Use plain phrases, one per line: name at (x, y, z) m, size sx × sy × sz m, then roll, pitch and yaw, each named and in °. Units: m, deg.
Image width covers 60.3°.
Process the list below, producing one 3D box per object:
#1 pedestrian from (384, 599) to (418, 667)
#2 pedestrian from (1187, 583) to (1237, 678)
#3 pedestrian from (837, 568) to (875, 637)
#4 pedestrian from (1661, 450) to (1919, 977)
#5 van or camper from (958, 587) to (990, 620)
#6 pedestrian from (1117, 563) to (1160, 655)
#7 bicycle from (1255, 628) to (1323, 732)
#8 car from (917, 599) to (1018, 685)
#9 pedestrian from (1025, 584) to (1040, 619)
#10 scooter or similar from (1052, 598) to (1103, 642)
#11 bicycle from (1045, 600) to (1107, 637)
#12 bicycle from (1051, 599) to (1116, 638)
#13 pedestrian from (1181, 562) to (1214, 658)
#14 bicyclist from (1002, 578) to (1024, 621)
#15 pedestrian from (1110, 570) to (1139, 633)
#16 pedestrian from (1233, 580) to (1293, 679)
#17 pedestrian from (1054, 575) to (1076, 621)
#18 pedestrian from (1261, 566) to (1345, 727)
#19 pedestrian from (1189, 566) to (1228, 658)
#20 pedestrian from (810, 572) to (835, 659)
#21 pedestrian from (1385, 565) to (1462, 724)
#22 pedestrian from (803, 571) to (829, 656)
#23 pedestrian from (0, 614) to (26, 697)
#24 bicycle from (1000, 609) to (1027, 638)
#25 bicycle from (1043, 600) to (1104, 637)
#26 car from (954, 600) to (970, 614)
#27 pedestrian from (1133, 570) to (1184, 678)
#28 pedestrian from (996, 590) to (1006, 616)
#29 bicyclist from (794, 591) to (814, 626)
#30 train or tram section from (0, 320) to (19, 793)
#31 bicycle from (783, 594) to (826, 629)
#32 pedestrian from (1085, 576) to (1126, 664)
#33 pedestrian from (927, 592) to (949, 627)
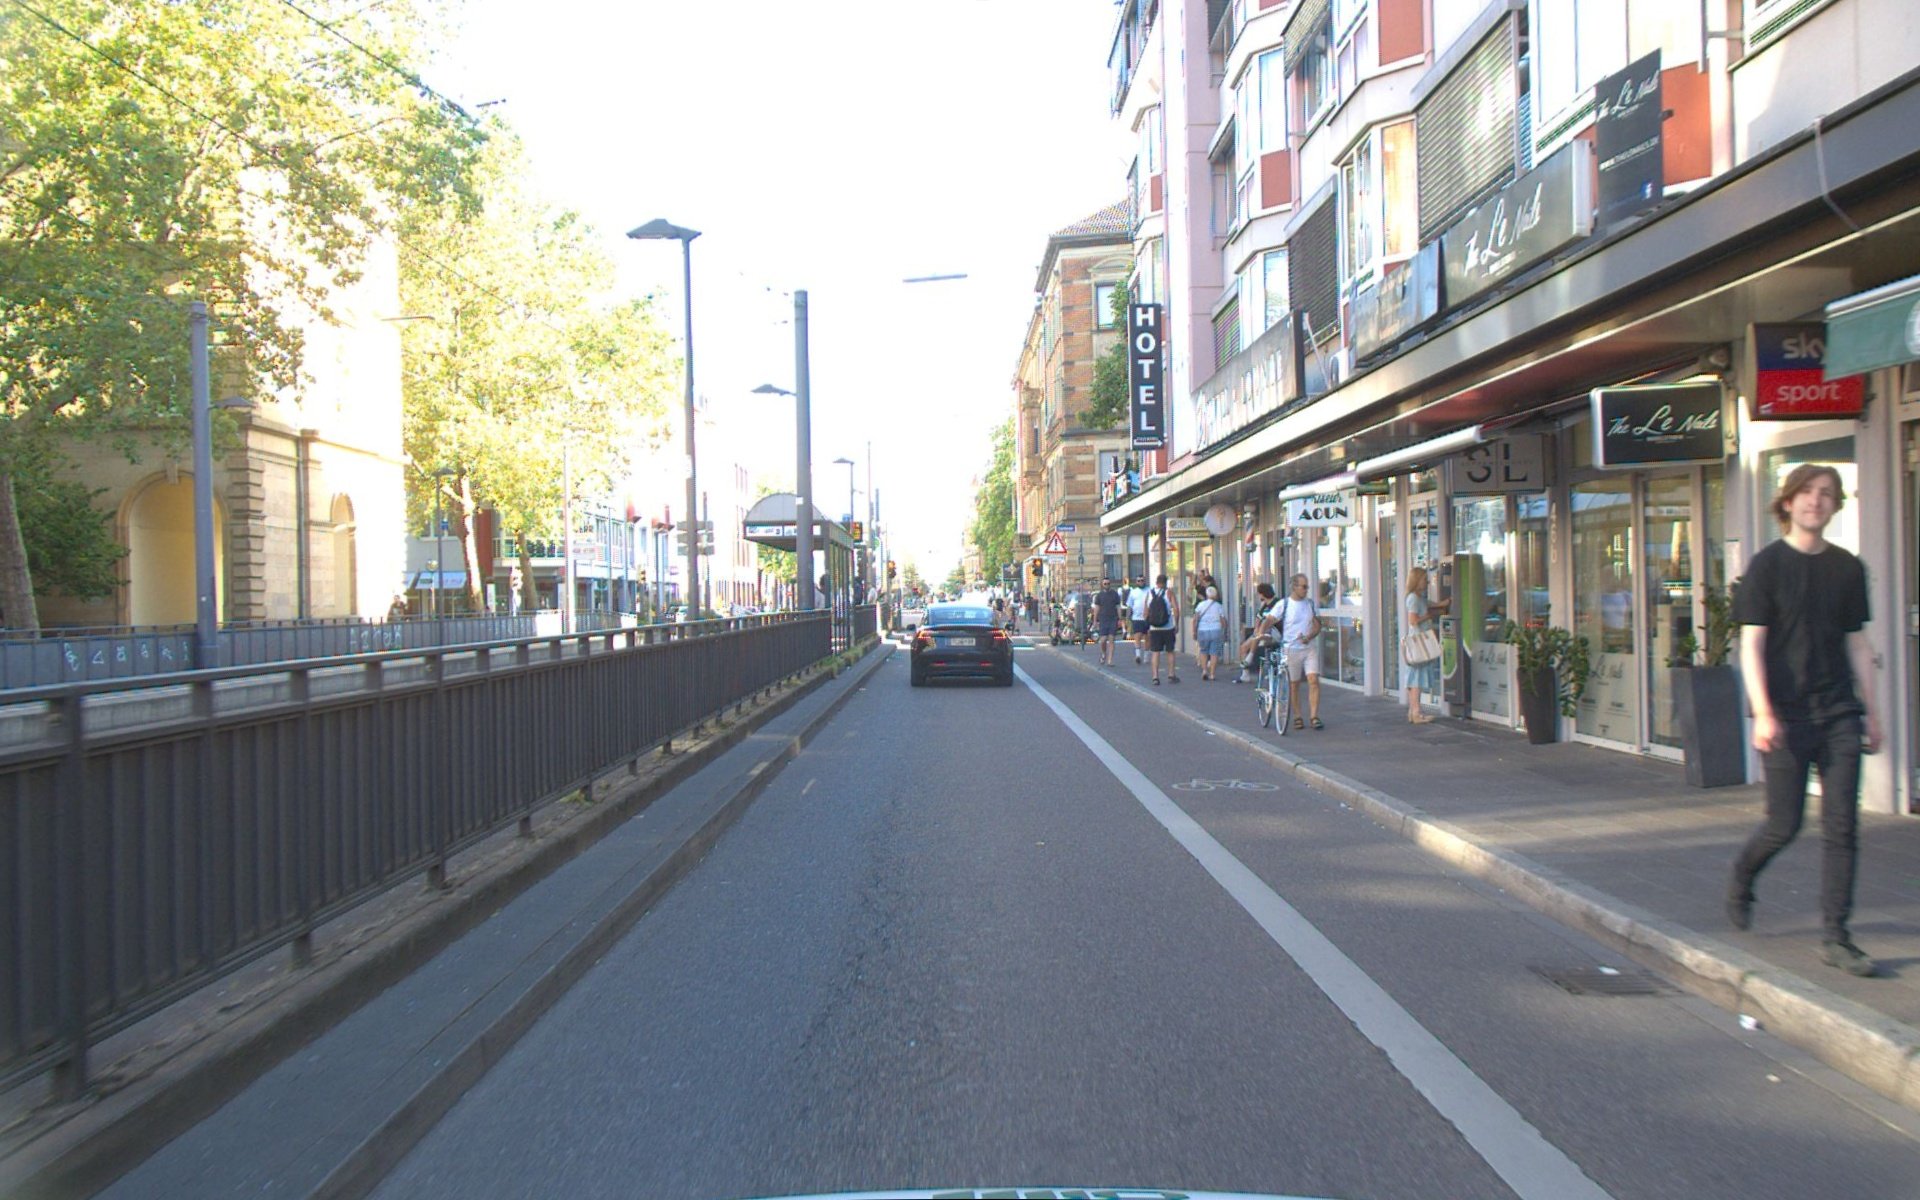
pedestrian at (-16.895, 0.988, 49.989) m, size 0.688 × 2.049 × 0.688 m, roll -1°, pitch 0°, yaw 30°
pedestrian at (4.185, 0.499, 27.523) m, size 0.623 × 1.509 × 0.654 m, roll -4°, pitch 0°, yaw -2°
pedestrian at (-2.836, 0.070, 45.040) m, size 0.762 × 1.863 × 0.795 m, roll 1°, pitch -1°, yaw -31°
pedestrian at (3.348, 0.410, 6.527) m, size 0.661 × 1.893 × 0.992 m, roll -3°, pitch 0°, yaw 1°
van or camper at (0.888, 0.248, 106.407) m, size 1.892 × 2.072 × 5.473 m, roll 0°, pitch -1°, yaw -1°
pedestrian at (3.730, 0.180, 34.553) m, size 0.691 × 1.851 × 0.763 m, roll -4°, pitch 0°, yaw -1°
bicycle at (3.506, 0.827, 17.728) m, size 0.296 × 1.007 × 1.759 m, roll -2°, pitch 0°, yaw -1°
car at (0.077, 0.712, 29.727) m, size 1.685 × 1.430 × 3.709 m, roll 0°, pitch 0°, yaw -2°
pedestrian at (3.702, 0.097, 84.770) m, size 0.461 × 1.758 × 0.585 m, roll -2°, pitch 1°, yaw 35°
scooter or similar at (3.545, 0.598, 50.065) m, size 1.448 × 1.250 × 0.591 m, roll -3°, pitch 0°, yaw -1°
bicycle at (3.699, 0.584, 52.752) m, size 1.906 × 1.126 × 0.564 m, roll -2°, pitch 0°, yaw -3°
bicycle at (3.782, 0.566, 50.725) m, size 1.906 × 1.126 × 0.564 m, roll -2°, pitch 0°, yaw -3°
pedestrian at (4.723, 0.197, 32.934) m, size 0.442 × 1.881 × 0.812 m, roll -2°, pitch 0°, yaw -1°
bicyclist at (2.121, -0.019, 66.155) m, size 0.643 × 1.685 × 0.924 m, roll -1°, pitch 0°, yaw -12°
pedestrian at (5.385, 0.067, 54.103) m, size 0.701 × 2.020 × 0.943 m, roll -1°, pitch -4°, yaw 21°
pedestrian at (4.768, 0.460, 26.072) m, size 0.723 × 1.497 × 0.707 m, roll -4°, pitch 0°, yaw 0°
pedestrian at (4.309, -0.093, 67.835) m, size 0.829 × 1.839 × 0.876 m, roll -2°, pitch 1°, yaw 4°
pedestrian at (3.681, 0.490, 17.783) m, size 0.649 × 1.659 × 0.705 m, roll -3°, pitch 0°, yaw -2°
pedestrian at (4.965, 0.230, 33.048) m, size 0.616 × 1.800 × 0.501 m, roll -2°, pitch 0°, yaw 0°
pedestrian at (-2.554, 0.290, 30.709) m, size 0.415 × 1.601 × 0.447 m, roll -1°, pitch 0°, yaw -1°
pedestrian at (4.867, 0.457, 17.374) m, size 0.588 × 1.618 × 0.553 m, roll -2°, pitch 0°, yaw -1°
pedestrian at (-2.760, 0.258, 31.692) m, size 0.415 × 1.601 × 0.592 m, roll -1°, pitch 0°, yaw -1°
pedestrian at (-20.486, 1.180, 35.338) m, size 0.665 × 1.742 × 0.614 m, roll -1°, pitch 2°, yaw -2°
bicycle at (2.143, 0.935, 66.172) m, size 0.636 × 1.159 × 2.090 m, roll 0°, pitch 0°, yaw -11°
bicycle at (3.661, 0.589, 53.399) m, size 1.906 × 1.126 × 0.564 m, roll -2°, pitch 0°, yaw -3°
car at (0.183, 0.733, 177.440) m, size 1.676 × 1.482 × 4.549 m, roll 0°, pitch -1°, yaw -1°
pedestrian at (3.262, 0.393, 27.251) m, size 0.729 × 1.757 × 0.814 m, roll 0°, pitch 0°, yaw 0°
pedestrian at (2.859, 0.228, 116.114) m, size 0.659 × 1.846 × 0.755 m, roll -1°, pitch -1°, yaw -2°
bicyclist at (-7.005, 0.385, 74.325) m, size 0.676 × 1.543 × 0.625 m, roll 0°, pitch 0°, yaw -44°
train or tram section at (-8.928, -0.240, 4.957) m, size 2.913 × 3.708 × 16.484 m, roll 0°, pitch 1°, yaw 0°
bicycle at (-6.993, 0.500, 74.338) m, size 1.940 × 1.543 × 0.625 m, roll -1°, pitch 0°, yaw -44°
pedestrian at (3.028, 0.410, 34.460) m, size 0.654 × 1.758 × 0.810 m, roll -4°, pitch 0°, yaw -1°
pedestrian at (-1.025, 0.421, 76.363) m, size 0.825 × 1.576 × 0.699 m, roll -1°, pitch 0°, yaw 19°
